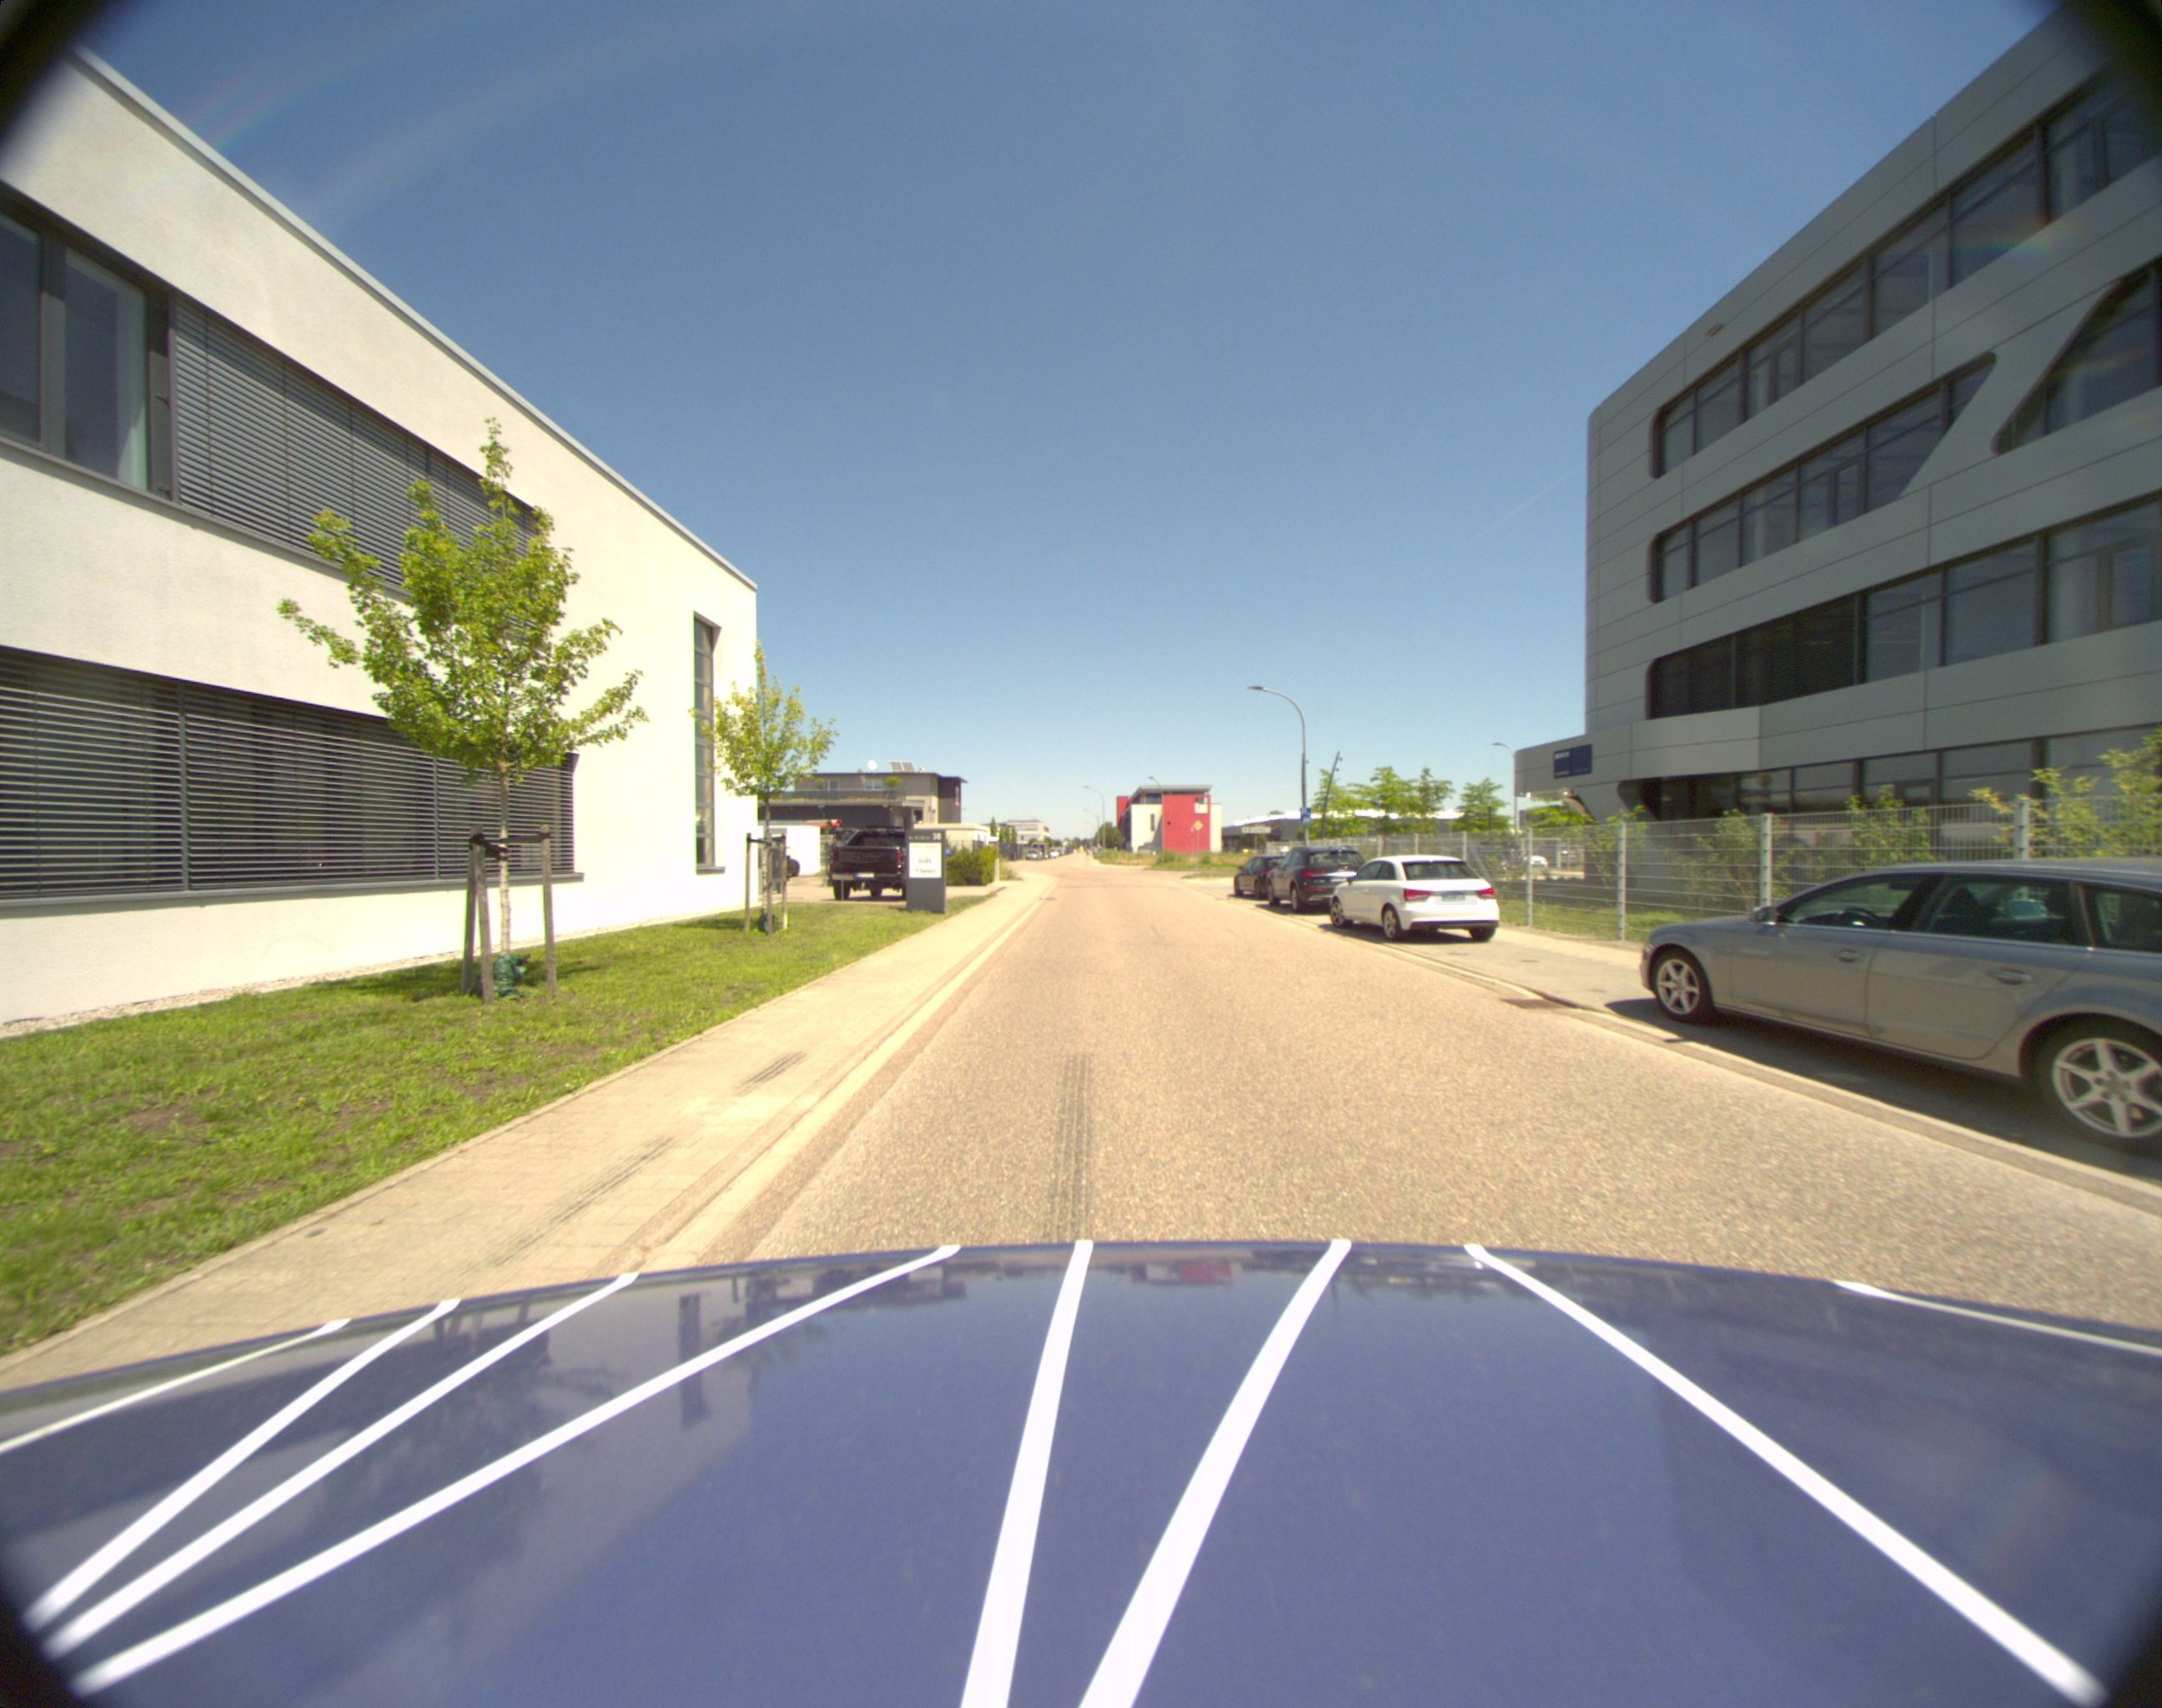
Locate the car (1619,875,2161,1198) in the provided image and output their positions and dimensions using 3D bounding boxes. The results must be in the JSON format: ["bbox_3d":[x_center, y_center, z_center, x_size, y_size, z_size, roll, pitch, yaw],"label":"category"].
[{"bbox_3d":[5.874,0.898,4.838,1.688,1.378,4.639,-1,0,1],"label":"car"}]

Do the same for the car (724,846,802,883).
[{"bbox_3d":[-14.616,0.454,35.181,1.860,1.481,3.998,0,3,0],"label":"car"}]

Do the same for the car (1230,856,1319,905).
[{"bbox_3d":[6.316,0.805,25.246,1.774,1.458,4.185,-1,0,-2],"label":"car"}]

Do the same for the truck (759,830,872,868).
[{"bbox_3d":[-23.308,-0.477,66.962,8.966,3.158,2.689,-1,1,1],"label":"truck"}]

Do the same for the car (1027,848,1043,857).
[{"bbox_3d":[-6.209,-0.226,103.216,1.828,1.269,3.885,0,1,1],"label":"car"}]

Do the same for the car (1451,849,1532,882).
[{"bbox_3d":[19.954,0.533,37.137,1.775,1.502,4.105,0,1,0],"label":"car"}]

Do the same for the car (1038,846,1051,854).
[{"bbox_3d":[-5.721,-0.654,119.454,1.828,1.269,3.885,0,1,1],"label":"car"}]

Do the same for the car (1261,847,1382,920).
[{"bbox_3d":[6.086,0.678,19.834,1.774,1.641,4.851,-1,0,2],"label":"car"}]

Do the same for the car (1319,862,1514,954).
[{"bbox_3d":[5.878,0.858,13.858,1.704,1.378,3.936,-1,0,-2],"label":"car"}]

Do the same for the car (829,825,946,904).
[{"bbox_3d":[-5.408,0.339,22.162,1.999,2.001,5.801,0,-1,-1],"label":"car"}]

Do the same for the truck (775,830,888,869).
[{"bbox_3d":[-20.332,-0.364,62.203,8.354,3.005,2.625,-1,1,1],"label":"truck"}]

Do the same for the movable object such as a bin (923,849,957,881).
[{"bbox_3d":[-6.676,0.504,35.976,1.387,1.514,1.170,0,1,0],"label":"movable object such as a bin"}]

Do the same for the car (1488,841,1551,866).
[{"bbox_3d":[27.608,-0.003,47.947,1.610,1.467,4.116,0,-1,1],"label":"car"}]
